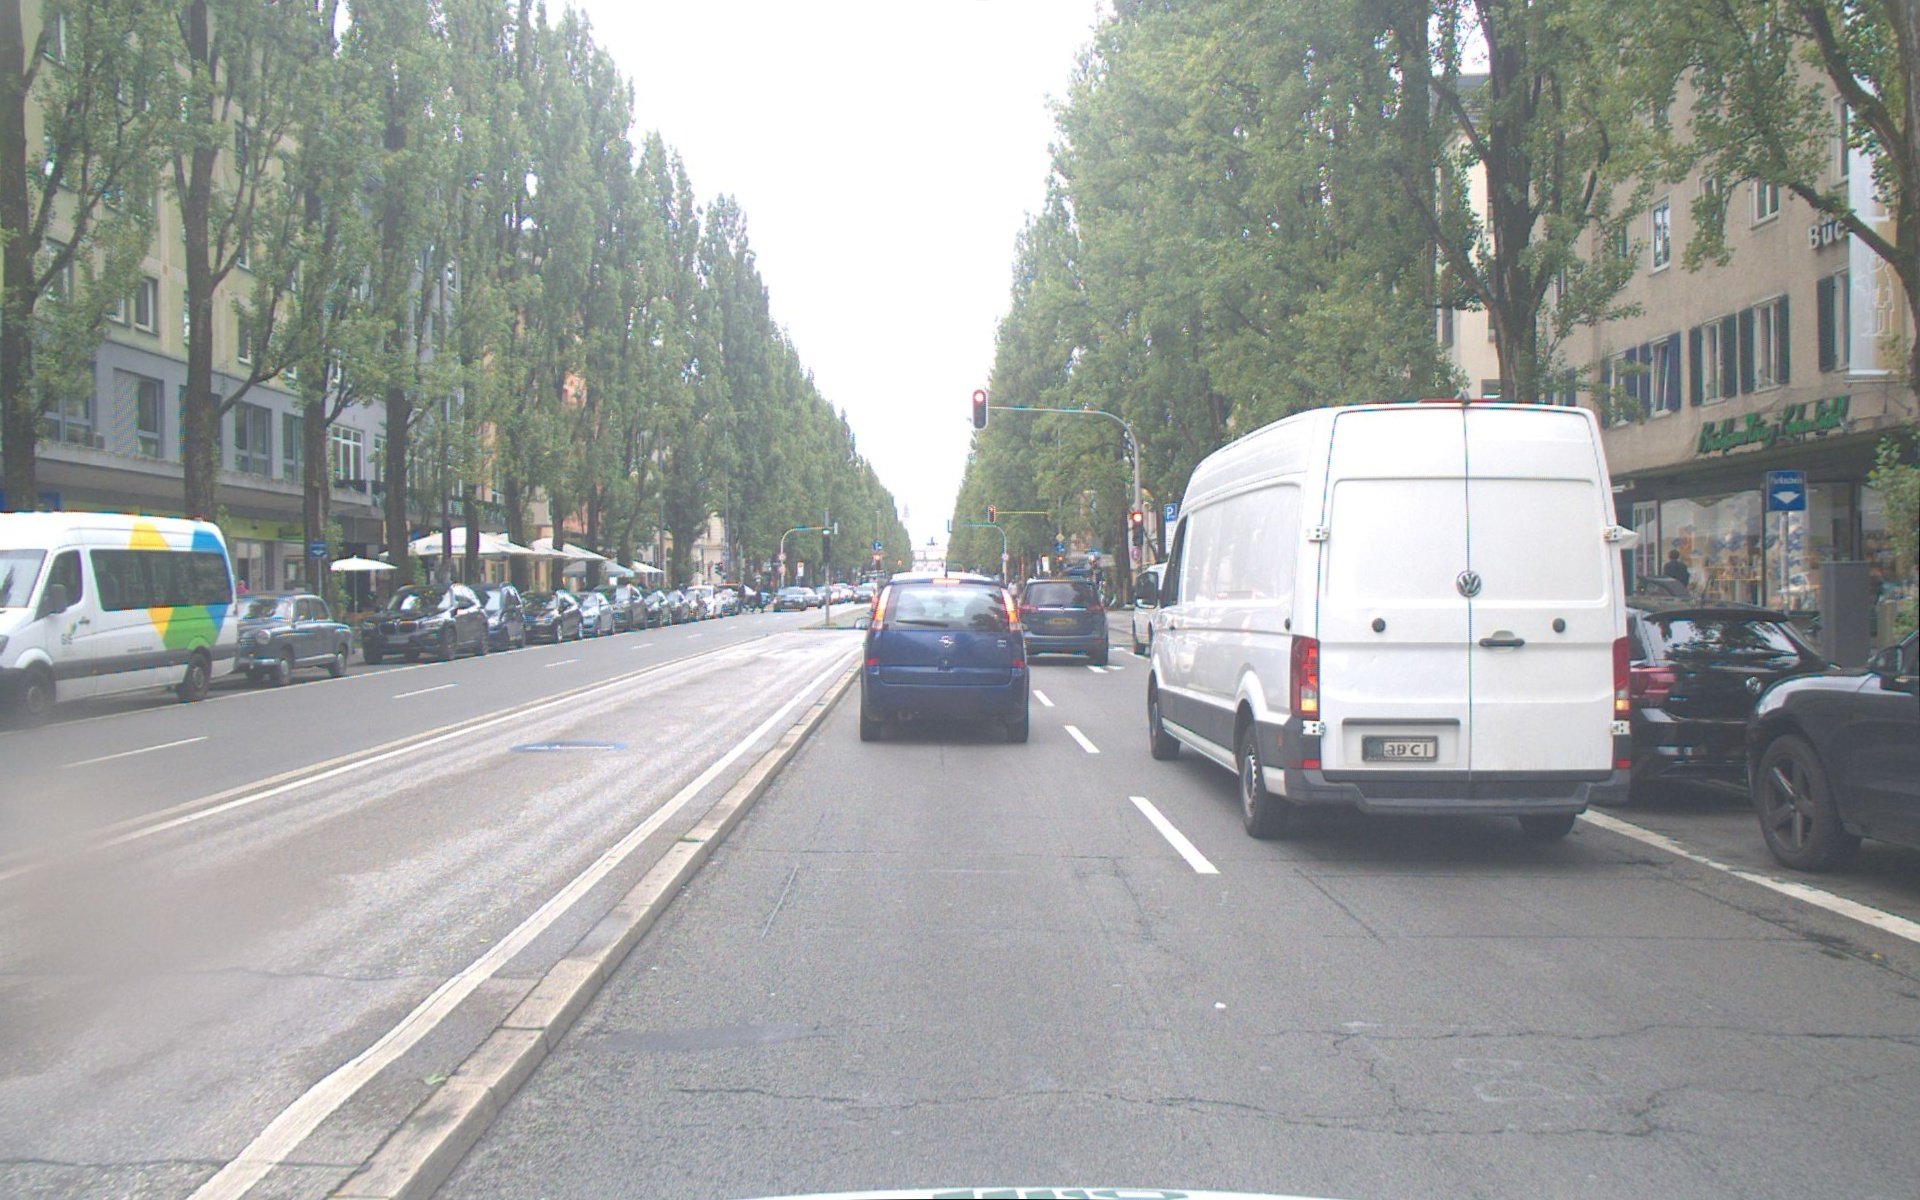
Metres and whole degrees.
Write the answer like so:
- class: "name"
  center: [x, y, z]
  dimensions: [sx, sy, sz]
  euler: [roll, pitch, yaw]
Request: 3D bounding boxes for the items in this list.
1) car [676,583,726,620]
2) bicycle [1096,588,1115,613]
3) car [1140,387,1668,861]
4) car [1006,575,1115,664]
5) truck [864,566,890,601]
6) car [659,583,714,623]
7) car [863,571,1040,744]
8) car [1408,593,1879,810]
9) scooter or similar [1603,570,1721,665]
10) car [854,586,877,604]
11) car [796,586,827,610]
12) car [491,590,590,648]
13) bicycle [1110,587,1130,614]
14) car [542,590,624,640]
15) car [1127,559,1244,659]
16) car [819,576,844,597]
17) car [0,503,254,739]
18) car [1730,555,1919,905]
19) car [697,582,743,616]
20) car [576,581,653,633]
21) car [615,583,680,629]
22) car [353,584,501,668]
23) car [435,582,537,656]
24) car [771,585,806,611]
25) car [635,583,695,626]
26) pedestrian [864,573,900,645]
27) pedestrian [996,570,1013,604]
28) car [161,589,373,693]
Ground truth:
- class: "car"
  center: [-12.659, 0.052, 81.015]
  dimensions: [1.828, 1.694, 4.119]
  euler: [-2, 1, -1]
- class: "bicycle"
  center: [8.098, 0.030, 92.058]
  dimensions: [0.757, 1.372, 2.449]
  euler: [-1, 0, -1]
- class: "car"
  center: [2.751, 0.095, 12.242]
  dimensions: [2.021, 2.536, 6.729]
  euler: [0, 1, -1]
- class: "car"
  center: [1.911, 0.343, 32.587]
  dimensions: [1.858, 1.650, 3.999]
  euler: [0, 1, -1]
- class: "truck"
  center: [-8.271, -1.679, 164.955]
  dimensions: [2.334, 3.405, 7.109]
  euler: [-1, 1, -1]
- class: "car"
  center: [-12.494, 0.098, 75.757]
  dimensions: [1.828, 1.694, 4.119]
  euler: [-2, 1, -1]
- class: "car"
  center: [-0.101, 0.511, 17.338]
  dimensions: [1.637, 1.596, 3.999]
  euler: [0, 1, -1]
- class: "car"
  center: [5.163, 0.667, 13.211]
  dimensions: [1.676, 1.418, 4.339]
  euler: [0, 1, -5]
- class: "scooter or similar"
  center: [11.207, 0.244, 26.503]
  dimensions: [0.624, 1.400, 2.493]
  euler: [-2, 2, -5]
- class: "car"
  center: [-7.730, -0.413, 135.183]
  dimensions: [1.699, 1.491, 3.364]
  euler: [-1, 1, -1]
- class: "car"
  center: [-9.766, -0.168, 108.775]
  dimensions: [1.710, 1.459, 4.129]
  euler: [-2, 1, -1]
- class: "car"
  center: [-12.052, 0.505, 47.818]
  dimensions: [1.762, 1.514, 4.349]
  euler: [-2, 1, -1]
- class: "bicycle"
  center: [8.300, 0.027, 85.929]
  dimensions: [0.757, 1.372, 2.449]
  euler: [-1, 0, -1]
- class: "car"
  center: [-12.124, 0.452, 53.374]
  dimensions: [1.698, 1.450, 4.142]
  euler: [-2, 1, -1]
- class: "car"
  center: [4.691, 0.149, 34.997]
  dimensions: [1.751, 1.980, 4.729]
  euler: [0, 1, -1]
- class: "car"
  center: [-10.601, -1.097, 136.590]
  dimensions: [1.828, 1.695, 4.119]
  euler: [-1, 1, -1]
- class: "car"
  center: [-11.690, 0.230, 21.638]
  dimensions: [1.965, 2.612, 6.911]
  euler: [-2, 1, -1]
- class: "car"
  center: [5.468, 0.628, 7.454]
  dimensions: [1.767, 1.666, 4.445]
  euler: [0, 0, -3]
- class: "car"
  center: [-12.792, -0.058, 88.288]
  dimensions: [1.828, 1.694, 4.119]
  euler: [-2, 1, -1]
- class: "car"
  center: [-12.270, 0.216, 58.913]
  dimensions: [1.828, 1.694, 4.400]
  euler: [-2, 1, -1]
- class: "car"
  center: [-12.327, 0.217, 65.481]
  dimensions: [1.828, 1.694, 4.119]
  euler: [-2, 1, -1]
- class: "car"
  center: [-11.843, 0.516, 37.071]
  dimensions: [1.828, 1.693, 4.610]
  euler: [-2, 1, -1]
- class: "car"
  center: [-12.098, 0.449, 42.443]
  dimensions: [1.676, 1.751, 3.919]
  euler: [-2, 1, -4]
- class: "car"
  center: [-10.413, -0.133, 100.613]
  dimensions: [1.663, 1.488, 4.712]
  euler: [-2, 1, -1]
- class: "car"
  center: [-12.494, 0.169, 70.230]
  dimensions: [1.828, 1.694, 4.119]
  euler: [-2, 1, -1]
- class: "pedestrian"
  center: [-1.870, 0.206, 39.598]
  dimensions: [0.843, 1.714, 0.626]
  euler: [-1, 0, -4]
- class: "pedestrian"
  center: [2.418, -0.710, 89.652]
  dimensions: [0.707, 1.859, 0.885]
  euler: [1, 0, -11]
- class: "car"
  center: [-11.902, 0.642, 28.736]
  dimensions: [1.828, 1.579, 4.413]
  euler: [-2, 1, -1]
